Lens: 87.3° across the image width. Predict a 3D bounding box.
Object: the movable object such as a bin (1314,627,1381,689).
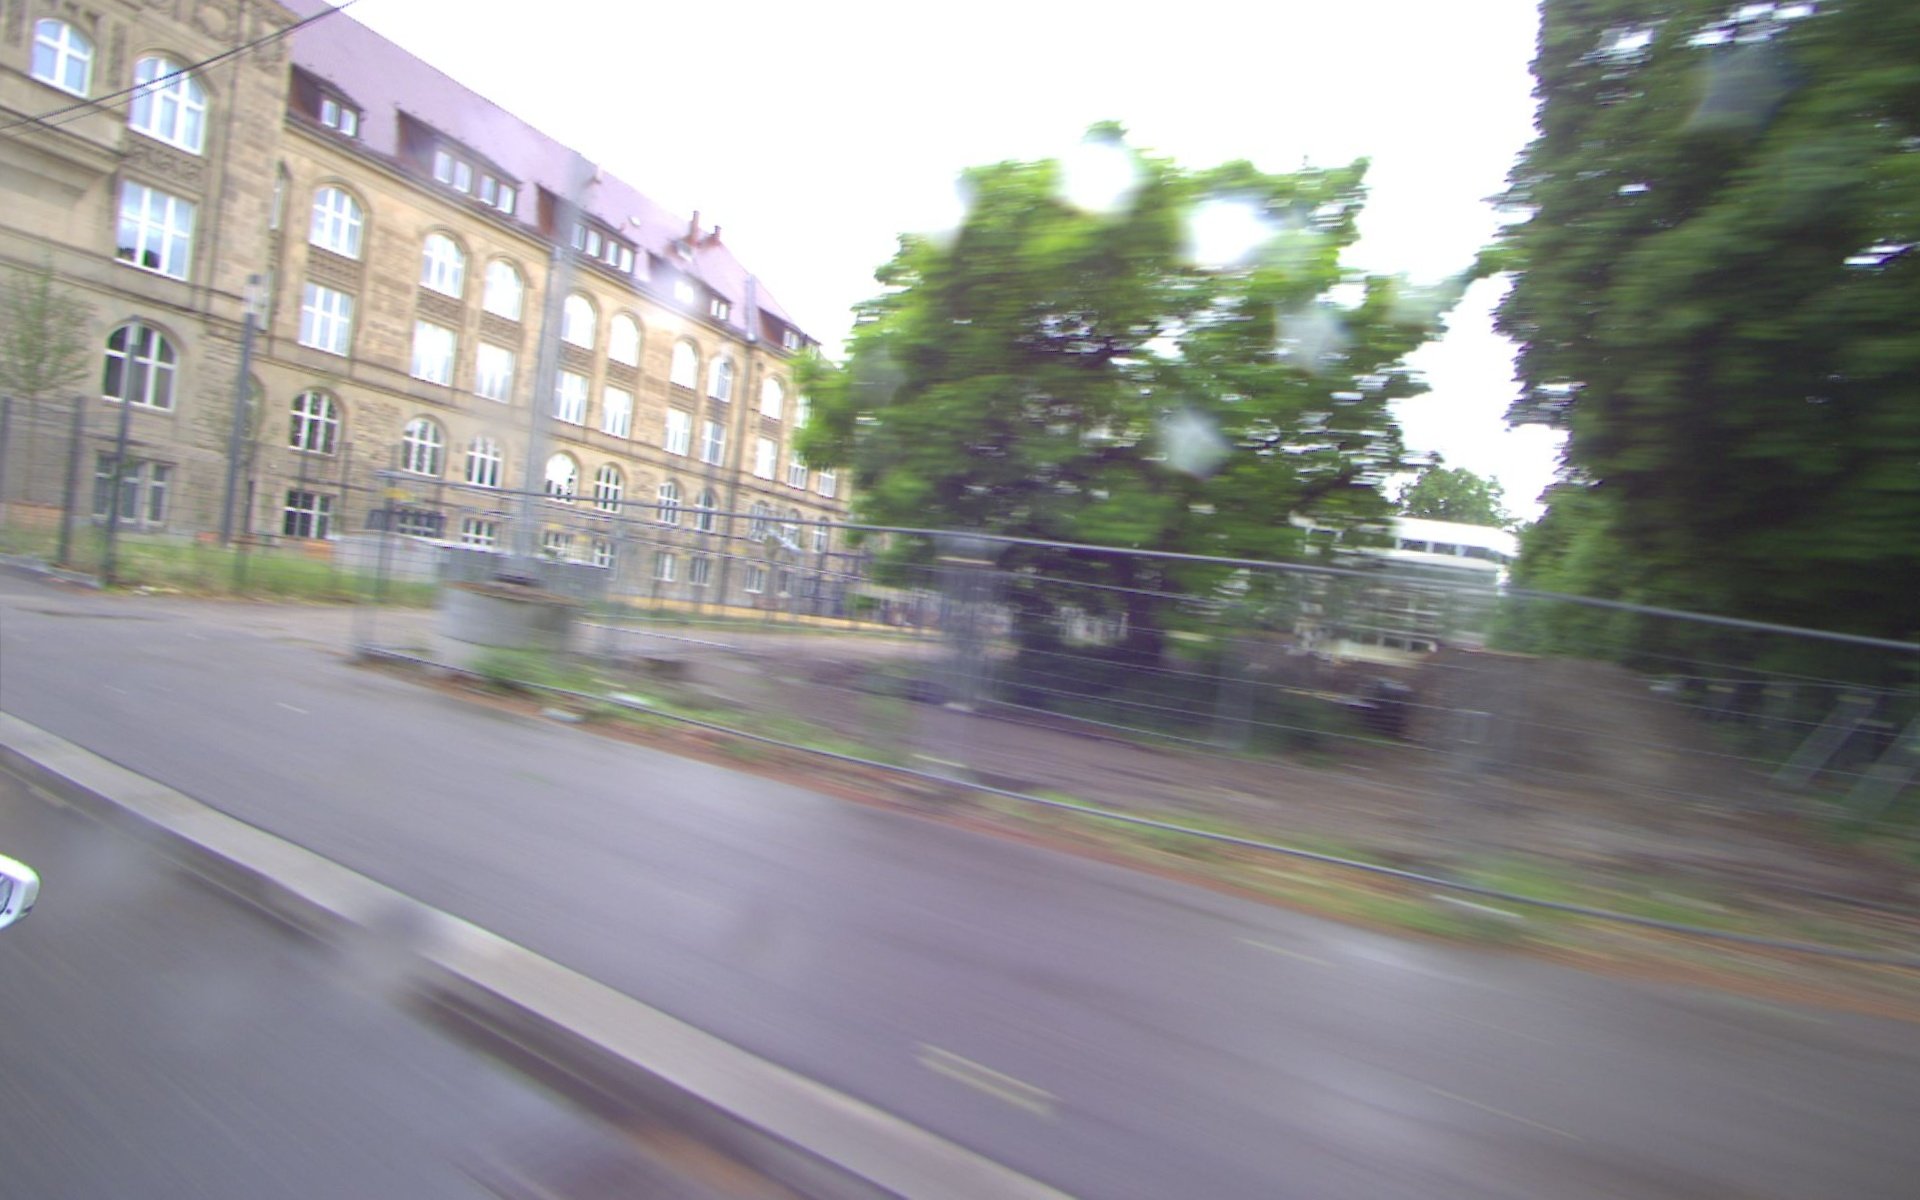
[{"bbox_3d":[19.250,2.862,49.839,2.452,2.678,4.572,6,-1,27],"label":"movable object such as a bin"}]
